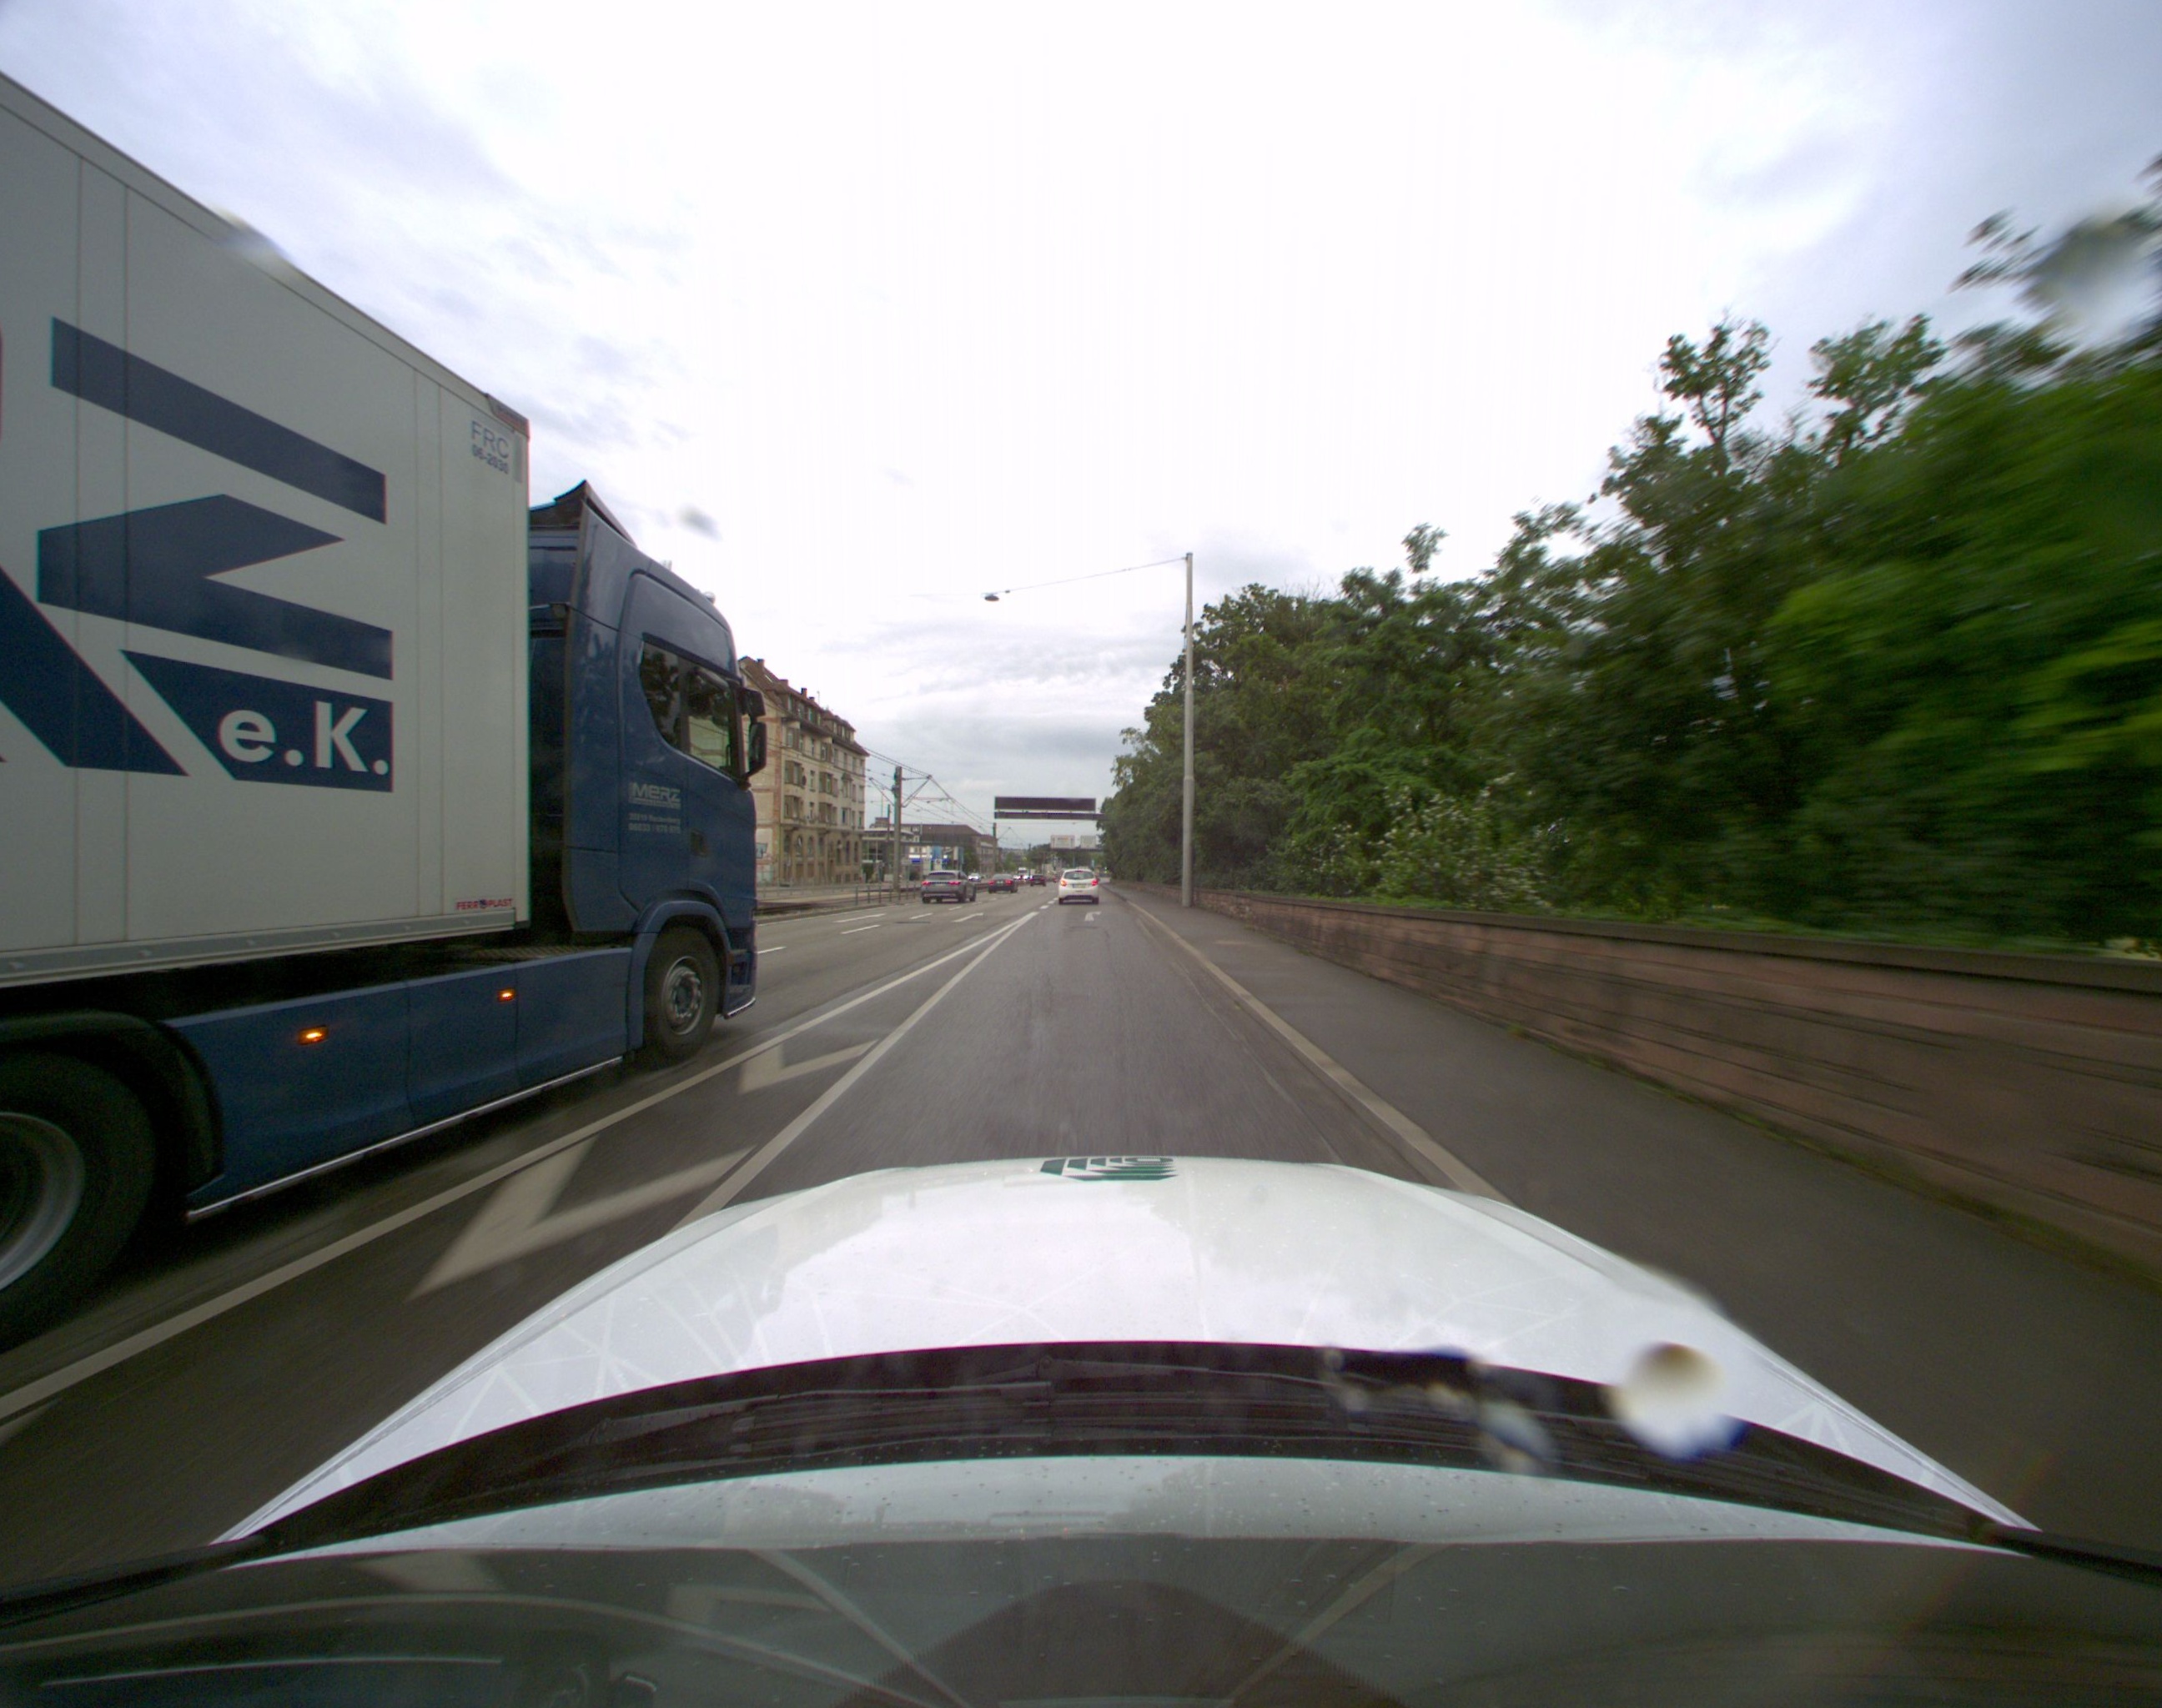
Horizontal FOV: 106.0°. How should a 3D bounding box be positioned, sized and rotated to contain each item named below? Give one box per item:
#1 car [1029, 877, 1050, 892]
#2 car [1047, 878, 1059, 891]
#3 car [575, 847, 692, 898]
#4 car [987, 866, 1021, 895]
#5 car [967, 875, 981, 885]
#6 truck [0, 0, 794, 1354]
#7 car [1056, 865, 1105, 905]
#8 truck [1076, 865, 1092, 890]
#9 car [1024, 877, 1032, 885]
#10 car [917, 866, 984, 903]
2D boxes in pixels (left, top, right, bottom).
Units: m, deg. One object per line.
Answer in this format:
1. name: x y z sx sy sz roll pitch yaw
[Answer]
1. car: -4.960 3.628 97.541 1.985 1.576 4.003 4 -2 4
2. car: -5.172 5.716 152.067 1.987 2.014 3.998 2 -5 0
3. car: -20.145 0.886 36.981 1.984 2.118 5.116 1 -3 5
4. car: -5.508 1.885 58.666 1.712 1.891 3.543 0 2 8
5. car: -19.581 4.766 148.744 1.987 1.662 3.999 2 -3 0
6. truck: -4.420 -0.557 4.549 2.749 4.197 6.792 -1 -2 5
7. car: -0.053 1.282 35.004 1.950 1.488 3.998 2 1 -2
8. truck: 0.845 6.026 204.494 3.451 5.403 12.054 1 -5 3
9. car: -15.721 7.909 240.858 1.987 2.014 3.998 2 -5 0
10. car: -5.908 1.390 37.324 1.810 1.566 4.101 -2 -2 8
